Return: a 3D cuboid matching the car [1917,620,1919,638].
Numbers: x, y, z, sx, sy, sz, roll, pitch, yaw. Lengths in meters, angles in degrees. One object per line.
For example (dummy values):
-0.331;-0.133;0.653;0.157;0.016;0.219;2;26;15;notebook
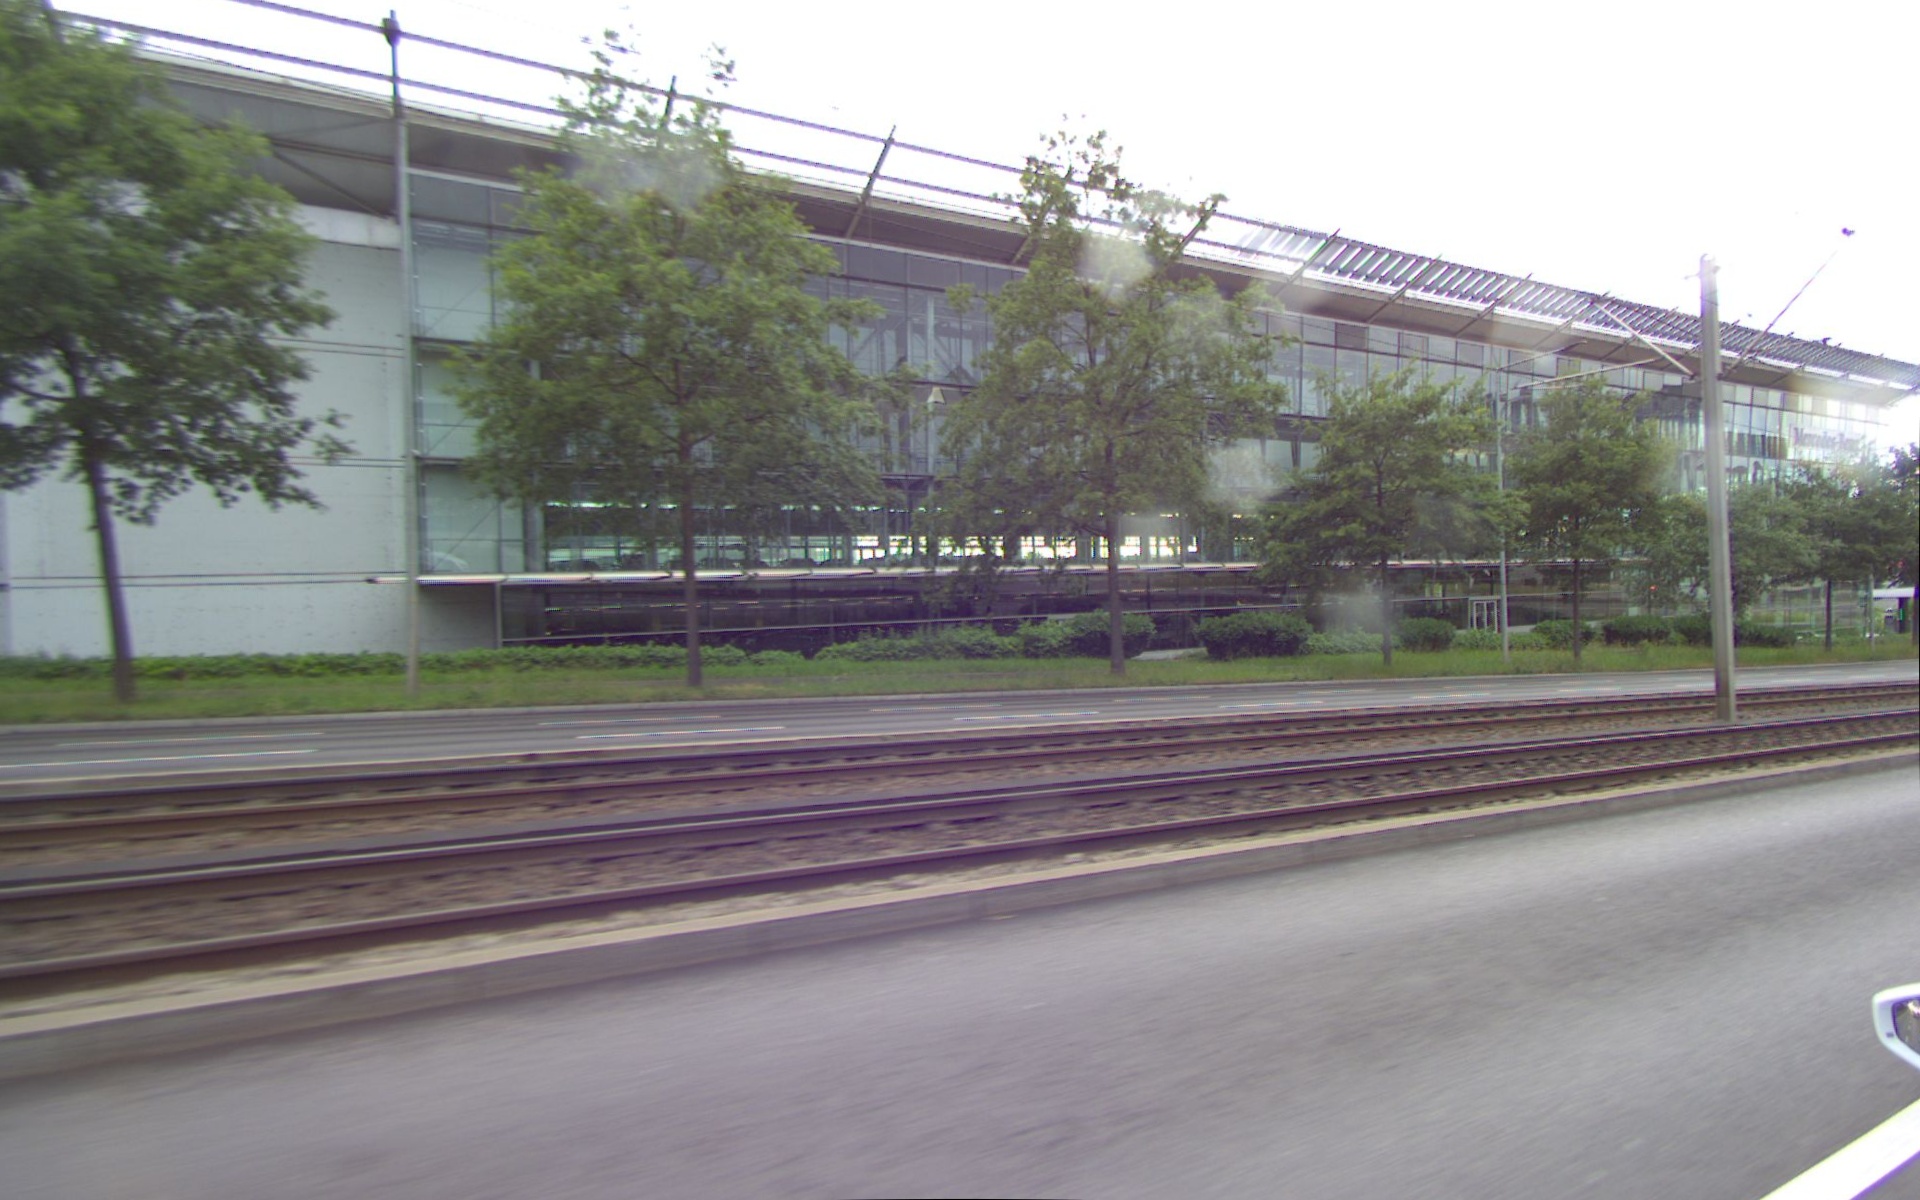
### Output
96.846;2.912;98.580;1.980;1.773;3.960;1;1;-35;car
